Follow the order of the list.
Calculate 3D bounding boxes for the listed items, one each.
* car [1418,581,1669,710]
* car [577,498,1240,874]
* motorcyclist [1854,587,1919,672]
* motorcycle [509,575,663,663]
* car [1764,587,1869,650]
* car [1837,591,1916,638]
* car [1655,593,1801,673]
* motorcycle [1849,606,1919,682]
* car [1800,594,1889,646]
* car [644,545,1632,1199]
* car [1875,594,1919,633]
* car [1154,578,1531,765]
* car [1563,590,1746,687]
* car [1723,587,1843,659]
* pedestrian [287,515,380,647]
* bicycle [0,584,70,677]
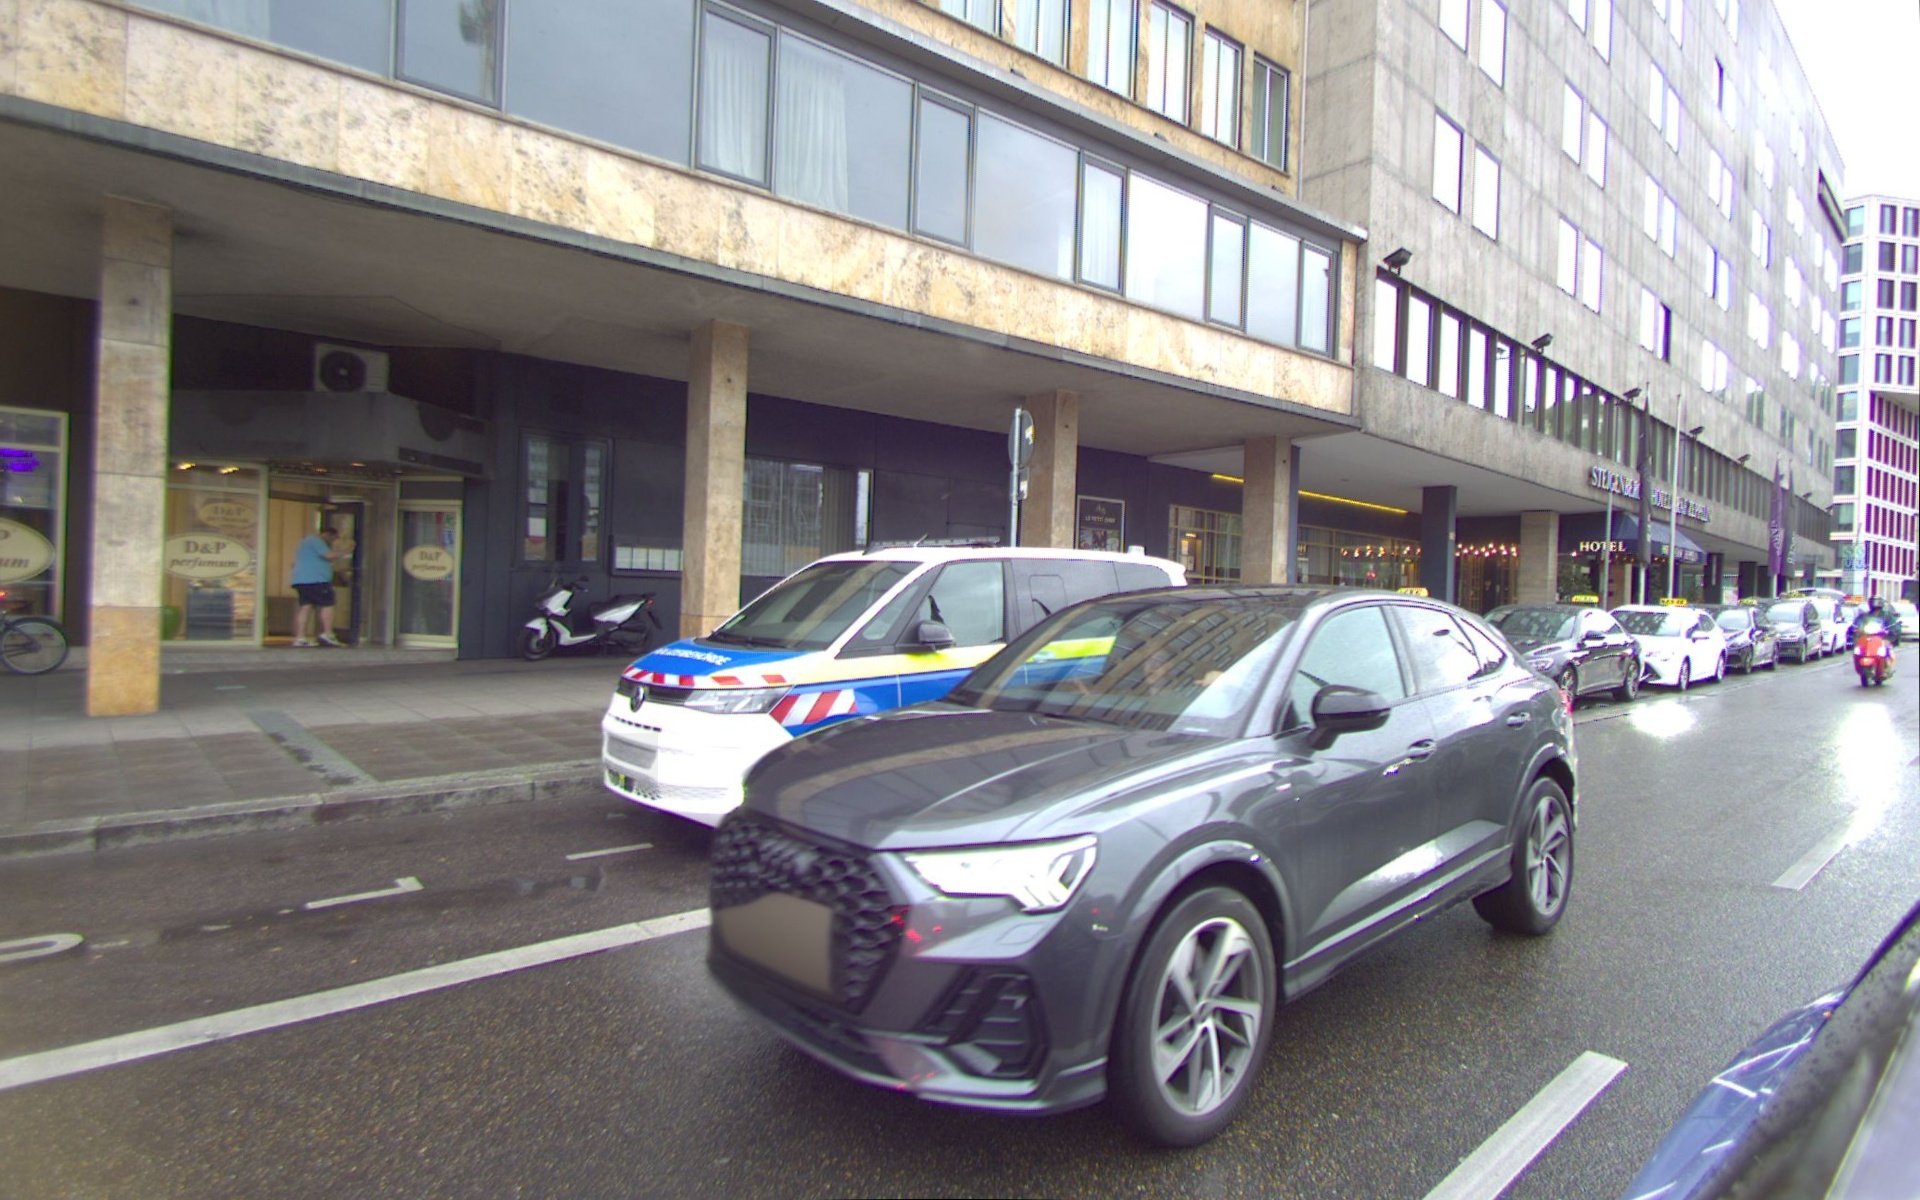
[{"bbox_3d":[8.916,0.568,15.288,4.731,1.658,1.877,0,0,-41],"label":"car"},{"bbox_3d":[-0.094,0.425,7.556,4.850,1.944,1.877,0,0,-41],"label":"car"},{"bbox_3d":[17.511,0.533,19.093,0.829,1.547,0.860,0,0,-40],"label":"motorcyclist"},{"bbox_3d":[-5.496,0.260,14.953,2.063,1.233,0.569,0,0,-33],"label":"motorcycle"},{"bbox_3d":[25.691,0.500,30.309,4.731,1.764,1.729,0,0,-41],"label":"car"},{"bbox_3d":[33.661,0.478,37.145,3.932,1.634,1.729,0,0,-41],"label":"car"},{"bbox_3d":[17.388,0.655,22.829,4.731,1.612,1.729,0,0,-41],"label":"car"},{"bbox_3d":[17.488,0.796,19.068,1.931,1.323,0.848,0,0,-41],"label":"motorcycle"},{"bbox_3d":[29.698,0.615,33.946,3.932,1.634,1.729,0,0,-41],"label":"car"},{"bbox_3d":[1.081,0.624,4.313,4.266,1.520,1.882,0,0,-41],"label":"car"},{"bbox_3d":[41.198,0.541,43.932,3.932,1.634,1.729,0,0,-41],"label":"car"},{"bbox_3d":[4.447,0.610,11.316,4.924,1.658,1.877,0,0,-41],"label":"car"},{"bbox_3d":[13.131,0.617,19.016,4.731,1.612,1.729,0,0,-41],"label":"car"},{"bbox_3d":[21.907,0.536,26.876,4.731,1.764,1.729,0,0,-41],"label":"car"},{"bbox_3d":[-8.994,-0.265,14.532,1.114,1.813,0.801,0,0,-33],"label":"pedestrian"},{"bbox_3d":[-11.653,0.355,11.405,2.428,1.059,0.657,0,0,-41],"label":"bicycle"}]
